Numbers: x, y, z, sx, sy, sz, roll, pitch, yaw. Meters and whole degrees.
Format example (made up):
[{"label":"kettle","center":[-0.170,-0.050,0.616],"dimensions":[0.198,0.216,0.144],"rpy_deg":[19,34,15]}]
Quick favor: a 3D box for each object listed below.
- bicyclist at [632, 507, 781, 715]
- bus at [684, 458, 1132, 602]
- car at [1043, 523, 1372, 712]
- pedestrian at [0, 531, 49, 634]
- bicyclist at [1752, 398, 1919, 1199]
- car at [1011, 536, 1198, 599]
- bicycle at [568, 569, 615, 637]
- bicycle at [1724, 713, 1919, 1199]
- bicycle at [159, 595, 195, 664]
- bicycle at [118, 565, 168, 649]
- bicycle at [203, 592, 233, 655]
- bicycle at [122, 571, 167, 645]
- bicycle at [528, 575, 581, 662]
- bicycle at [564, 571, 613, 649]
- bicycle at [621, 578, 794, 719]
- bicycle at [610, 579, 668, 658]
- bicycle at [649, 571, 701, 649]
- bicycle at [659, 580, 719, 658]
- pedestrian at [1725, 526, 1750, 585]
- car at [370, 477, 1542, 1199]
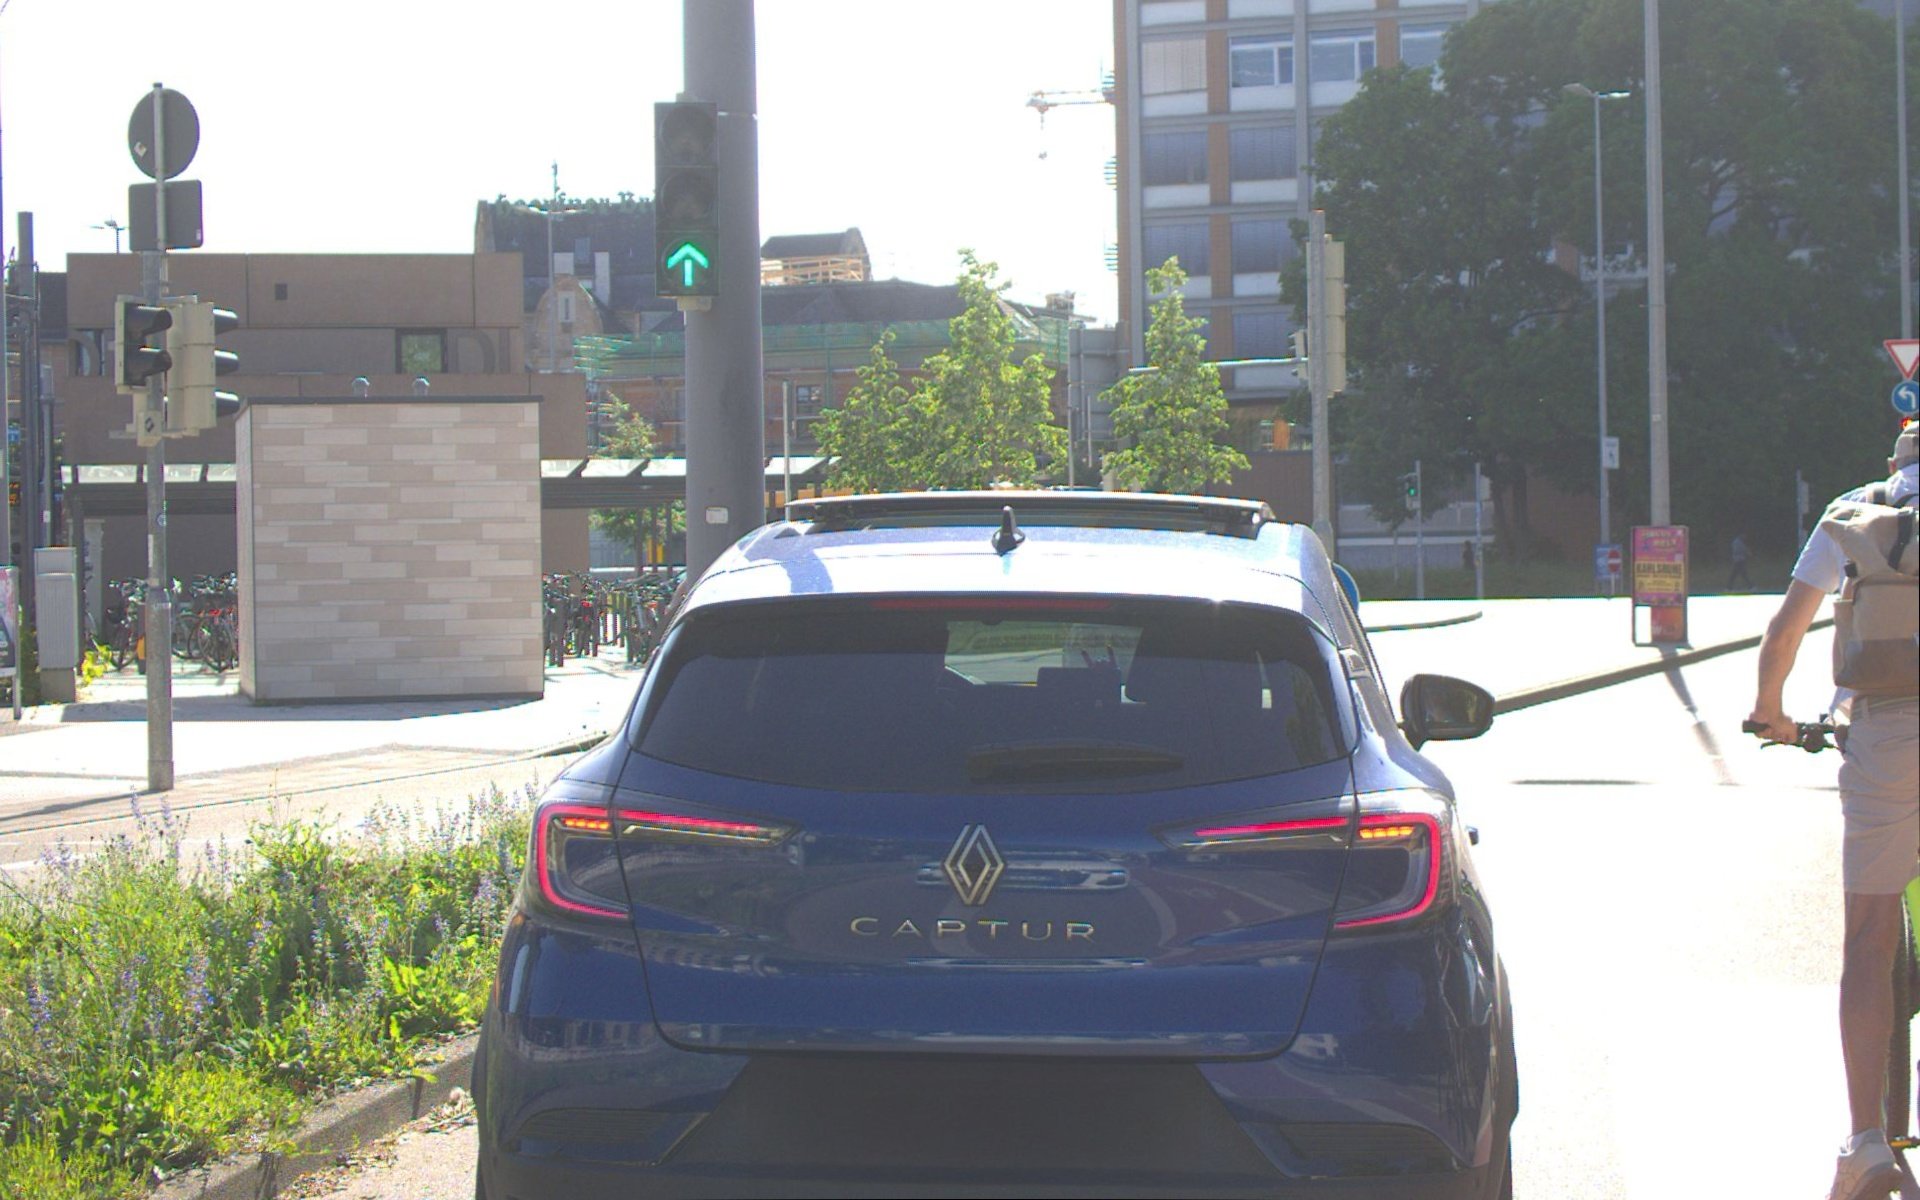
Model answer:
[{"label":"bicyclist","center":[-2.042,0.084,27.832],"dimensions":[0.880,1.639,1.060],"rpy_deg":[-1,0,14]},{"label":"bus","center":[-1.499,-1.657,86.718],"dimensions":[12.434,3.384,2.876],"rpy_deg":[0,0,40]},{"label":"car","center":[2.255,0.109,30.259],"dimensions":[1.802,1.388,4.089],"rpy_deg":[-1,3,20]},{"label":"pedestrian","center":[-17.117,-0.317,62.878],"dimensions":[0.847,1.877,0.761],"rpy_deg":[0,0,-16]},{"label":"bicyclist","center":[2.140,0.446,7.548],"dimensions":[0.664,1.741,1.005],"rpy_deg":[0,1,7]},{"label":"car","center":[3.629,-0.803,86.861],"dimensions":[4.406,1.516,1.966],"rpy_deg":[0,0,38]},{"label":"bicycle","center":[-6.028,0.057,56.173],"dimensions":[0.580,1.084,1.872],"rpy_deg":[0,0,-11]},{"label":"bicycle","center":[2.151,0.836,7.690],"dimensions":[0.663,1.043,1.890],"rpy_deg":[0,2,6]},{"label":"bicycle","center":[-10.858,0.402,47.635],"dimensions":[0.421,0.934,1.306],"rpy_deg":[1,0,-15]},{"label":"bicycle","center":[-10.907,0.097,45.913],"dimensions":[0.565,1.090,2.030],"rpy_deg":[0,0,-11]},{"label":"bicycle","center":[-11.357,0.350,52.658],"dimensions":[0.421,0.934,1.379],"rpy_deg":[1,0,-11]},{"label":"bicycle","center":[-12.380,0.123,52.222],"dimensions":[0.565,1.090,2.030],"rpy_deg":[0,0,-11]},{"label":"bicycle","center":[-5.040,0.226,42.664],"dimensions":[0.580,1.054,1.817],"rpy_deg":[0,0,-9]},{"label":"bicycle","center":[-5.264,0.143,48.699],"dimensions":[0.580,1.084,2.059],"rpy_deg":[0,0,-9]},{"label":"bicycle","center":[-2.022,0.374,27.815],"dimensions":[0.773,1.077,2.034],"rpy_deg":[-1,0,14]},{"label":"bicycle","center":[-4.024,0.232,43.040],"dimensions":[0.580,0.958,2.059],"rpy_deg":[0,0,-9]},{"label":"bicycle","center":[-4.055,0.147,48.770],"dimensions":[0.580,1.084,2.059],"rpy_deg":[0,0,-9]},{"label":"bicycle","center":[-3.412,0.234,43.127],"dimensions":[0.580,0.958,2.059],"rpy_deg":[0,0,-9]},{"label":"pedestrian","center":[22.311,-1.270,98.694],"dimensions":[0.561,1.664,0.475],"rpy_deg":[0,-1,37]},{"label":"car","center":[0.142,0.583,7.178],"dimensions":[1.823,1.594,3.658],"rpy_deg":[1,1,5]}]
